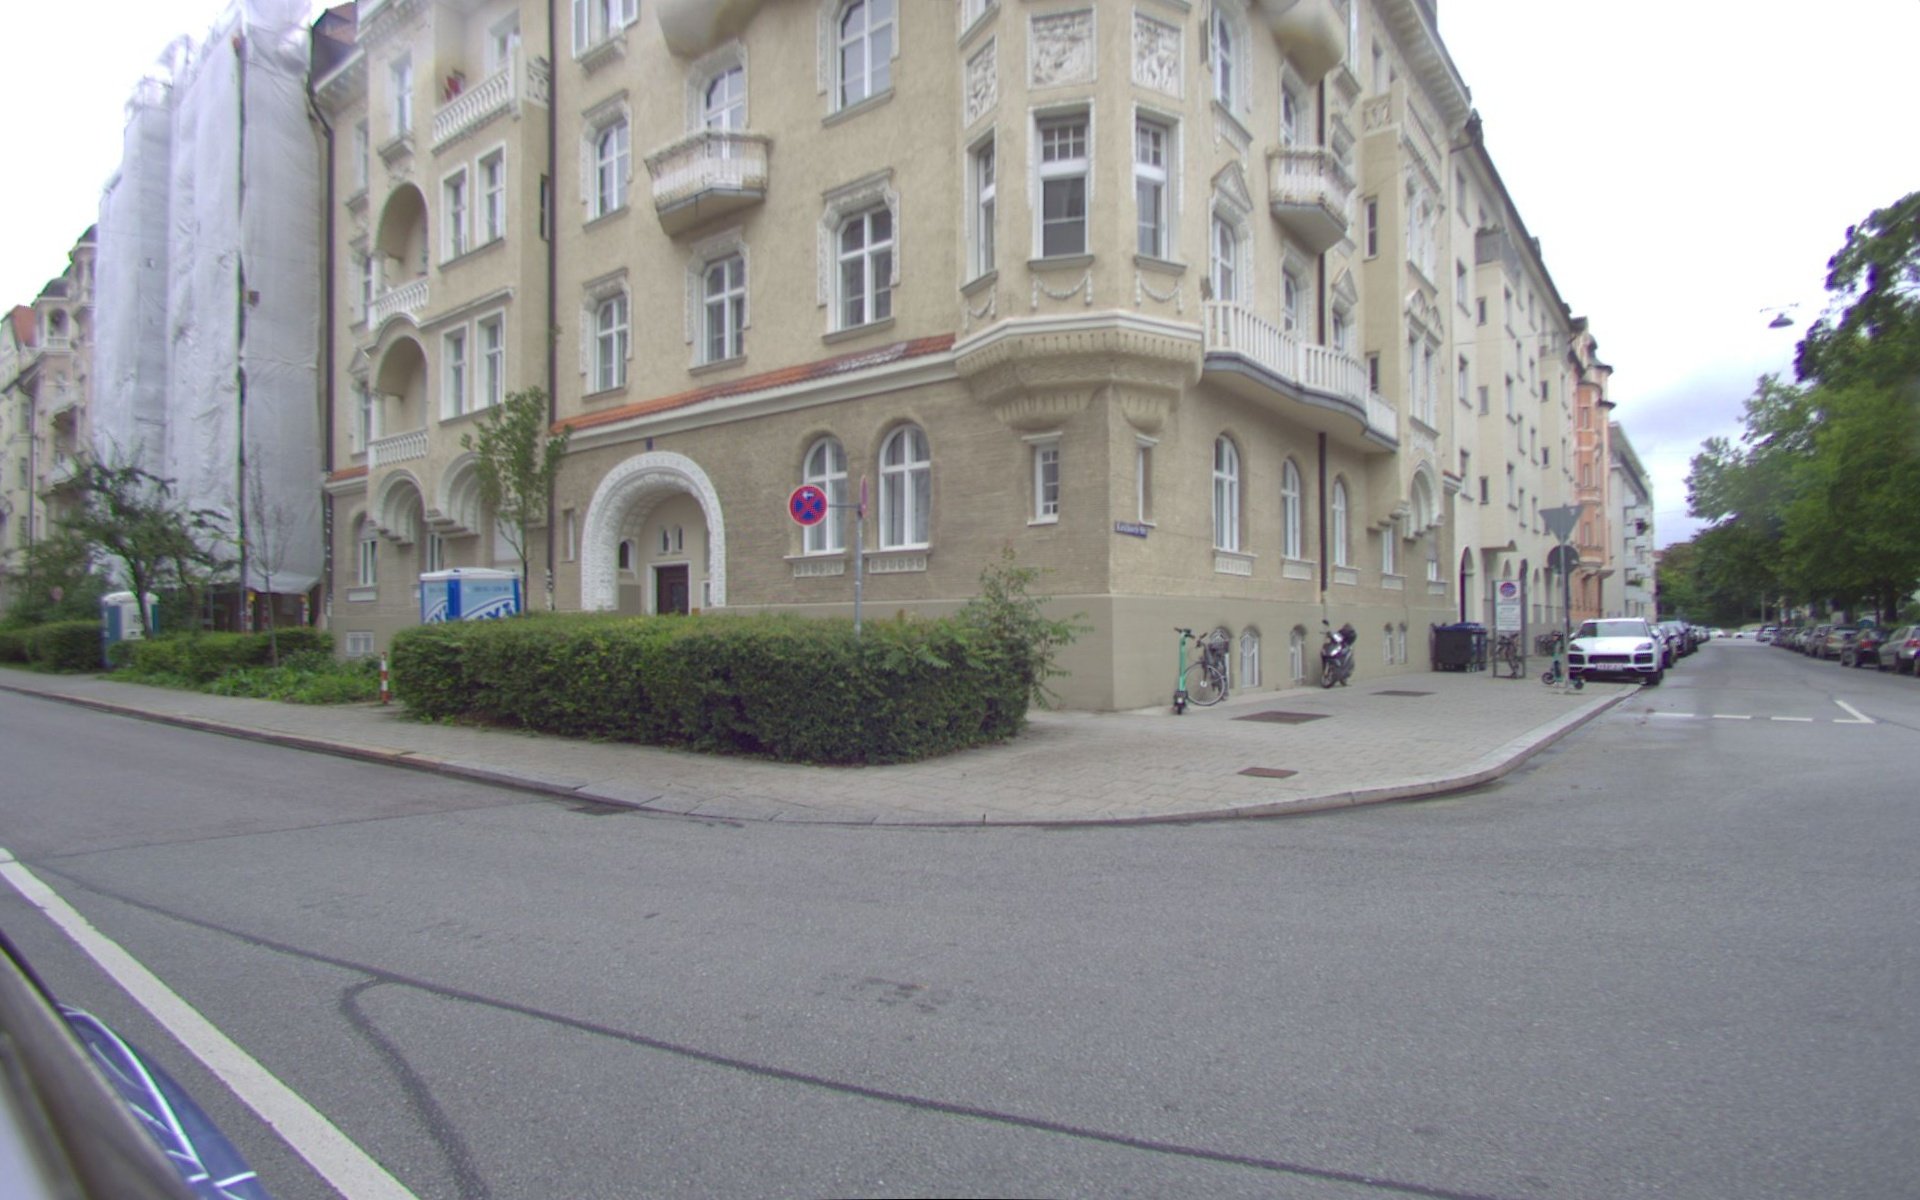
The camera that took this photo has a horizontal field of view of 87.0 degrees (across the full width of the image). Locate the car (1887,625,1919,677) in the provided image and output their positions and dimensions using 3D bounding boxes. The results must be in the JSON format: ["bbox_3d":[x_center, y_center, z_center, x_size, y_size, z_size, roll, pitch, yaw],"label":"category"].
[{"bbox_3d":[28.631,1.438,29.664,1.672,1.468,3.631,-4,-4,36],"label":"car"}]

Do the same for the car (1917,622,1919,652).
[{"bbox_3d":[25.975,1.285,25.845,1.672,1.540,3.631,-4,-4,36],"label":"car"}]

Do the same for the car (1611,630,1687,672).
[{"bbox_3d":[23.884,1.723,35.029,1.996,1.369,4.423,-1,-2,36],"label":"car"}]

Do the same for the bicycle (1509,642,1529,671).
[{"bbox_3d":[21.125,2.115,38.246,0.651,1.077,1.797,-1,-2,29],"label":"bicycle"}]

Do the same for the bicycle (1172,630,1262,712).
[{"bbox_3d":[4.143,1.084,16.188,0.697,1.212,2.313,-2,-2,33],"label":"bicycle"}]

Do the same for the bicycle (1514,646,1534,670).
[{"bbox_3d":[22.638,2.333,40.637,0.651,0.909,1.797,-1,-2,29],"label":"bicycle"}]

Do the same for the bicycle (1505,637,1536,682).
[{"bbox_3d":[14.243,1.487,25.736,0.651,1.077,1.956,-1,-2,29],"label":"bicycle"}]

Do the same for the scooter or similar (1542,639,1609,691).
[{"bbox_3d":[13.835,1.449,22.785,0.534,1.117,1.349,0,-2,-7],"label":"scooter or similar"}]

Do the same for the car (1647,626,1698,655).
[{"bbox_3d":[35.154,1.983,49.892,1.996,1.386,4.129,-1,-2,36],"label":"car"}]

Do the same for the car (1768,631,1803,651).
[{"bbox_3d":[59.615,2.953,73.153,1.672,1.308,3.631,-4,-4,36],"label":"car"}]

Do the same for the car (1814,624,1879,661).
[{"bbox_3d":[37.872,1.827,43.307,1.672,1.468,3.631,-4,-4,36],"label":"car"}]

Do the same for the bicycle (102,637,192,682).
[{"bbox_3d":[-22.980,1.651,28.621,0.690,1.085,1.841,-2,2,40],"label":"bicycle"}]

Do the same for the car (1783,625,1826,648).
[{"bbox_3d":[51.149,2.230,61.331,1.672,1.308,3.631,-4,-4,36],"label":"car"}]

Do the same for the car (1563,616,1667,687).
[{"bbox_3d":[17.328,1.304,26.668,1.996,1.689,4.929,-1,-2,36],"label":"car"}]

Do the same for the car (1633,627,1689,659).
[{"bbox_3d":[32.241,1.940,46.514,1.996,1.386,4.129,-1,-2,36],"label":"car"}]

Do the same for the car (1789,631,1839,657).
[{"bbox_3d":[45.311,2.336,53.746,1.672,1.308,3.631,-4,-4,36],"label":"car"}]

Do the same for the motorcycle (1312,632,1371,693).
[{"bbox_3d":[7.870,1.256,20.822,0.740,1.195,1.726,-2,-2,34],"label":"motorcycle"}]

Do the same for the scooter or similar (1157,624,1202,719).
[{"bbox_3d":[3.145,0.994,14.451,0.455,1.281,1.276,-1,-2,19],"label":"scooter or similar"}]

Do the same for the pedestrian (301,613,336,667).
[{"bbox_3d":[-21.250,1.305,33.509,0.772,1.759,0.762,-2,-1,36],"label":"pedestrian"}]

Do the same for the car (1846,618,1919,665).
[{"bbox_3d":[31.492,1.400,34.380,1.672,1.468,3.631,-4,-4,36],"label":"car"}]

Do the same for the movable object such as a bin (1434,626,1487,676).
[{"bbox_3d":[14.498,1.464,29.307,1.147,1.381,1.165,-2,-3,39],"label":"movable object such as a bin"}]

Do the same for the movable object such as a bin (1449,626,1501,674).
[{"bbox_3d":[15.401,1.473,30.245,1.147,1.381,1.165,-2,-3,39],"label":"movable object such as a bin"}]
